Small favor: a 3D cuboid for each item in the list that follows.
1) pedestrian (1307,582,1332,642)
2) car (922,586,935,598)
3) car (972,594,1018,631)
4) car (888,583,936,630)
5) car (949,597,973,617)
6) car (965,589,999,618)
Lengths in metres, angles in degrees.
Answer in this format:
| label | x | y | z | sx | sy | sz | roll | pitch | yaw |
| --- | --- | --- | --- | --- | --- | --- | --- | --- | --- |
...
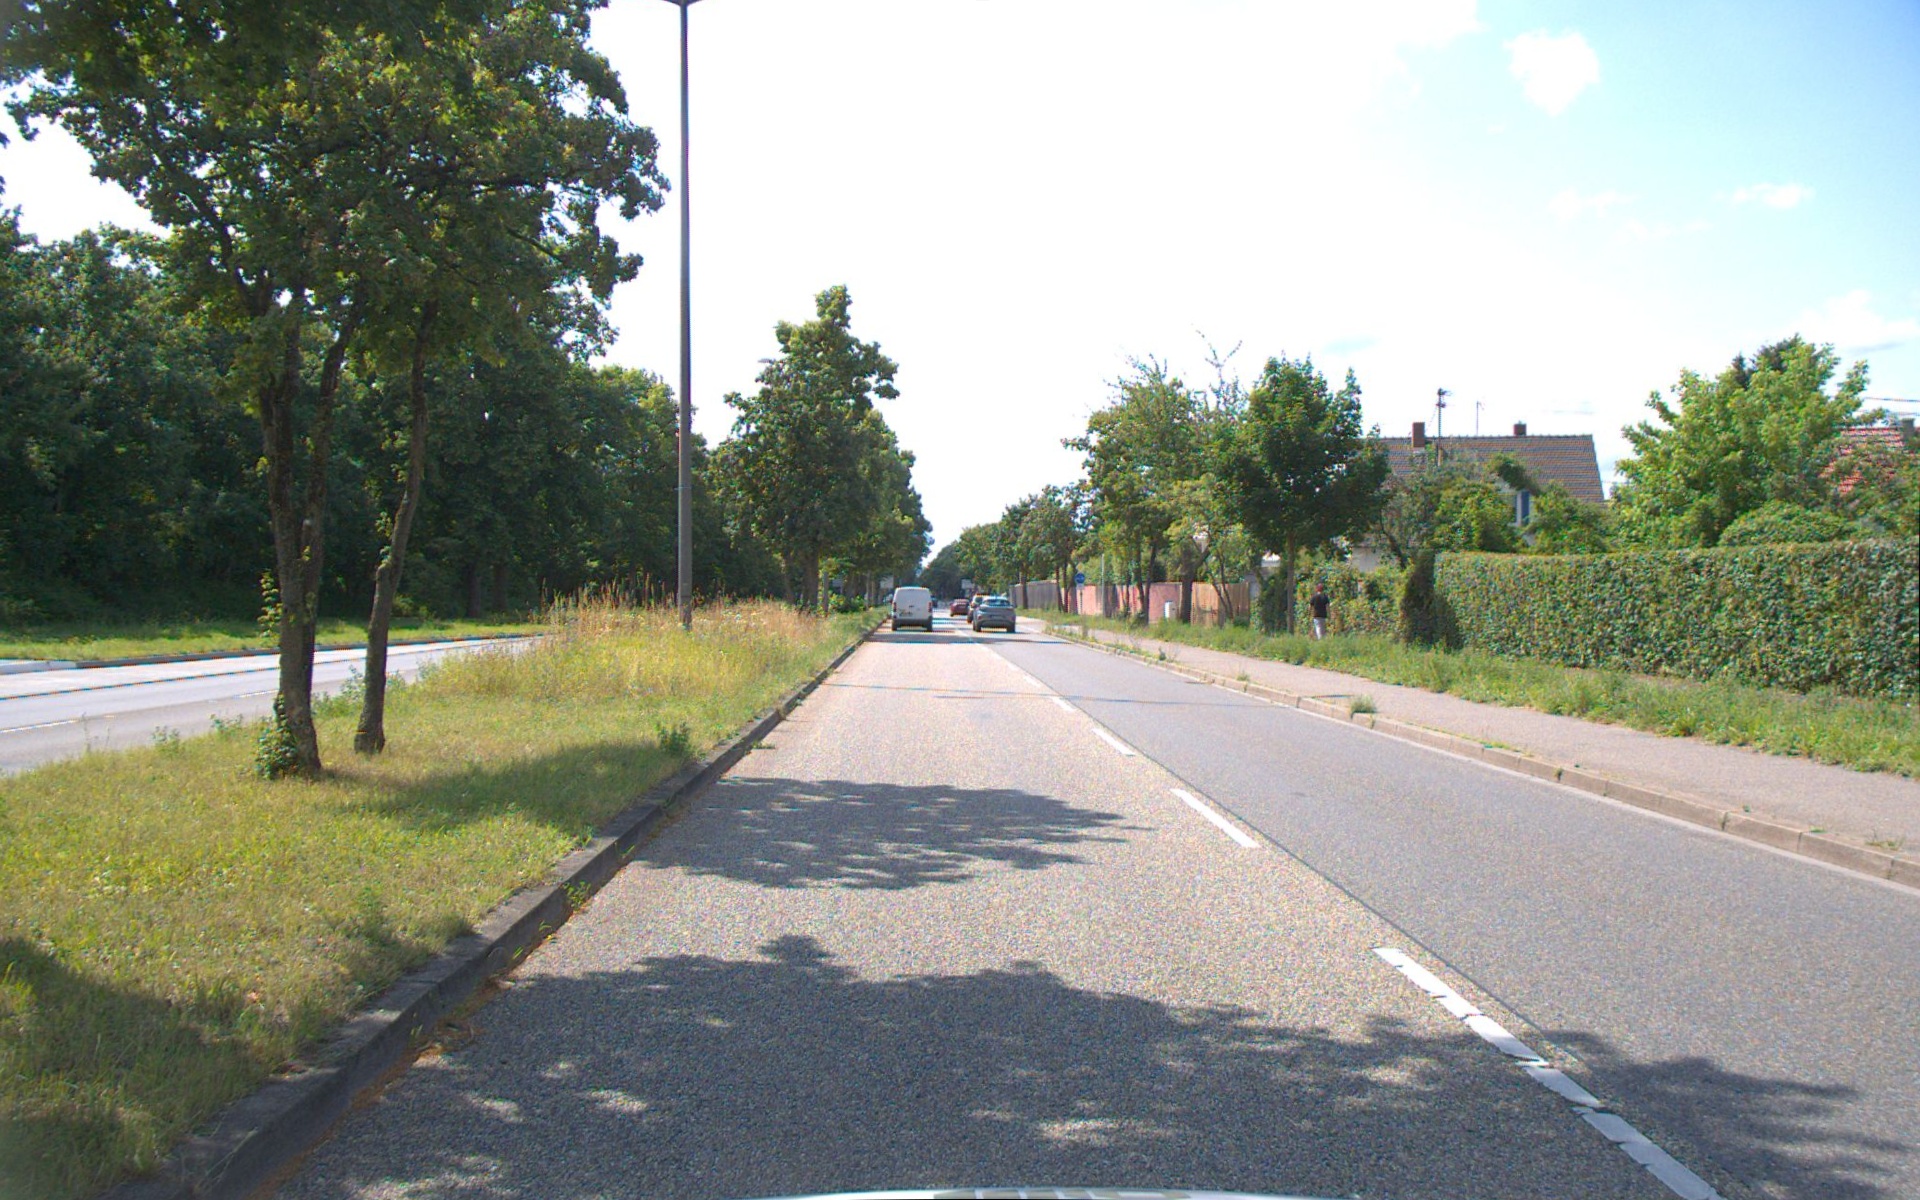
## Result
| label | x | y | z | sx | sy | sz | roll | pitch | yaw |
| --- | --- | --- | --- | --- | --- | --- | --- | --- | --- |
| pedestrian | 10.211 | 0.333 | 46.965 | 0.548 | 1.706 | 0.634 | 0 | 0 | -2 |
| car | -4.550 | -1.112 | 238.202 | 1.842 | 1.744 | 3.999 | 0 | 0 | -2 |
| car | 1.520 | 0.536 | 73.198 | 1.837 | 1.617 | 4.183 | 0 | 0 | -1 |
| car | -2.073 | 0.264 | 71.460 | 2.024 | 1.945 | 4.645 | 0 | 0 | -2 |
| car | 0.039 | 0.533 | 136.108 | 1.842 | 1.615 | 3.999 | 0 | 0 | -2 |
| car | 1.292 | 0.192 | 98.775 | 1.837 | 1.681 | 3.999 | 0 | 0 | -1 |
